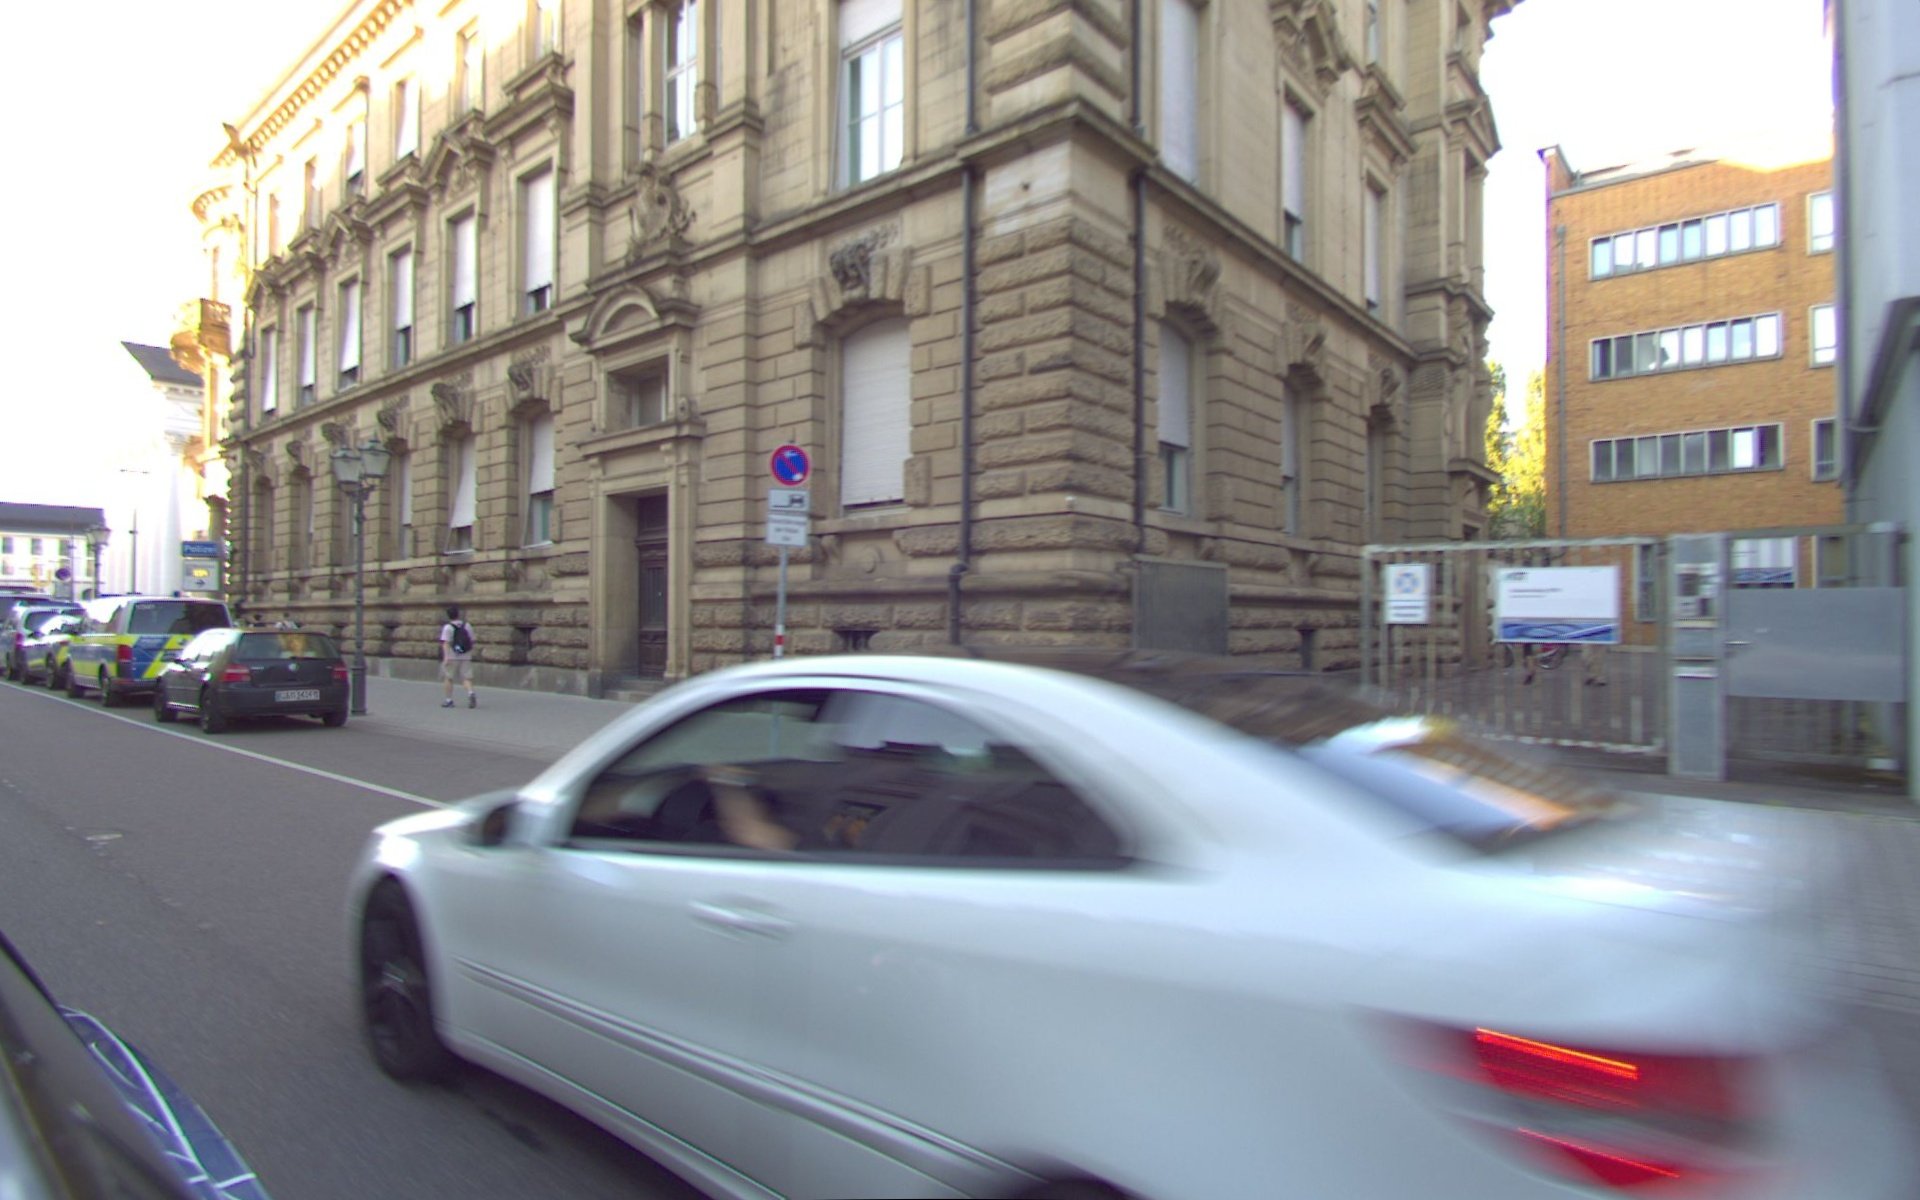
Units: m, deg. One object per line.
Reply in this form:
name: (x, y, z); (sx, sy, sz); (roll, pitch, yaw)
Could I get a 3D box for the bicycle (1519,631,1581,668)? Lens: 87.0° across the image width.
bicycle: (15.716, 1.302, 26.972); (1.355, 0.960, 0.371); (-1, -2, 43)

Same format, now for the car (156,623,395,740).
car: (-10.444, 1.121, 15.340); (4.162, 1.506, 1.973); (-1, -2, 41)

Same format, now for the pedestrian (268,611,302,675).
pedestrian: (-18.512, 1.167, 27.772); (0.702, 1.743, 0.601); (-1, -2, 42)

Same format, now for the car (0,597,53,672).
car: (-30.042, 1.051, 31.379); (5.199, 2.188, 1.975); (-1, -2, 38)

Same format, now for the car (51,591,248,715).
car: (-15.619, 0.909, 19.403); (4.986, 2.093, 1.973); (0, -1, 40)

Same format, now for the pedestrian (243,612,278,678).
pedestrian: (-18.740, 1.199, 27.106); (0.830, 1.743, 0.576); (-1, -2, 42)

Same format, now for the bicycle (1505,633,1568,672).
bicycle: (14.825, 1.338, 26.062); (1.355, 0.960, 0.371); (-1, -2, 43)

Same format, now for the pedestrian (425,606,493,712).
pedestrian: (-8.590, 0.990, 17.347); (0.896, 1.743, 0.706); (-1, 1, 42)

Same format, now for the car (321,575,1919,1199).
car: (-0.039, 0.733, 2.806); (4.085, 1.419, 1.767); (-1, -2, 40)

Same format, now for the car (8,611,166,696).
car: (-20.274, 1.167, 23.432); (4.986, 1.765, 1.973); (-1, -2, 40)

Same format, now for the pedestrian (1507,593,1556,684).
pedestrian: (11.752, 0.783, 20.818); (0.691, 1.818, 0.611); (1, -2, -35)

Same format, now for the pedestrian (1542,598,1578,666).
pedestrian: (16.420, 0.878, 27.695); (0.691, 1.818, 0.611); (1, -2, -35)

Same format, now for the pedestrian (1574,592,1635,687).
pedestrian: (12.691, 0.771, 19.938); (0.691, 1.818, 0.779); (1, -2, -35)

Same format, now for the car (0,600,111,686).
car: (-24.540, 1.093, 27.065); (5.204, 2.103, 1.973); (-1, -2, 41)
